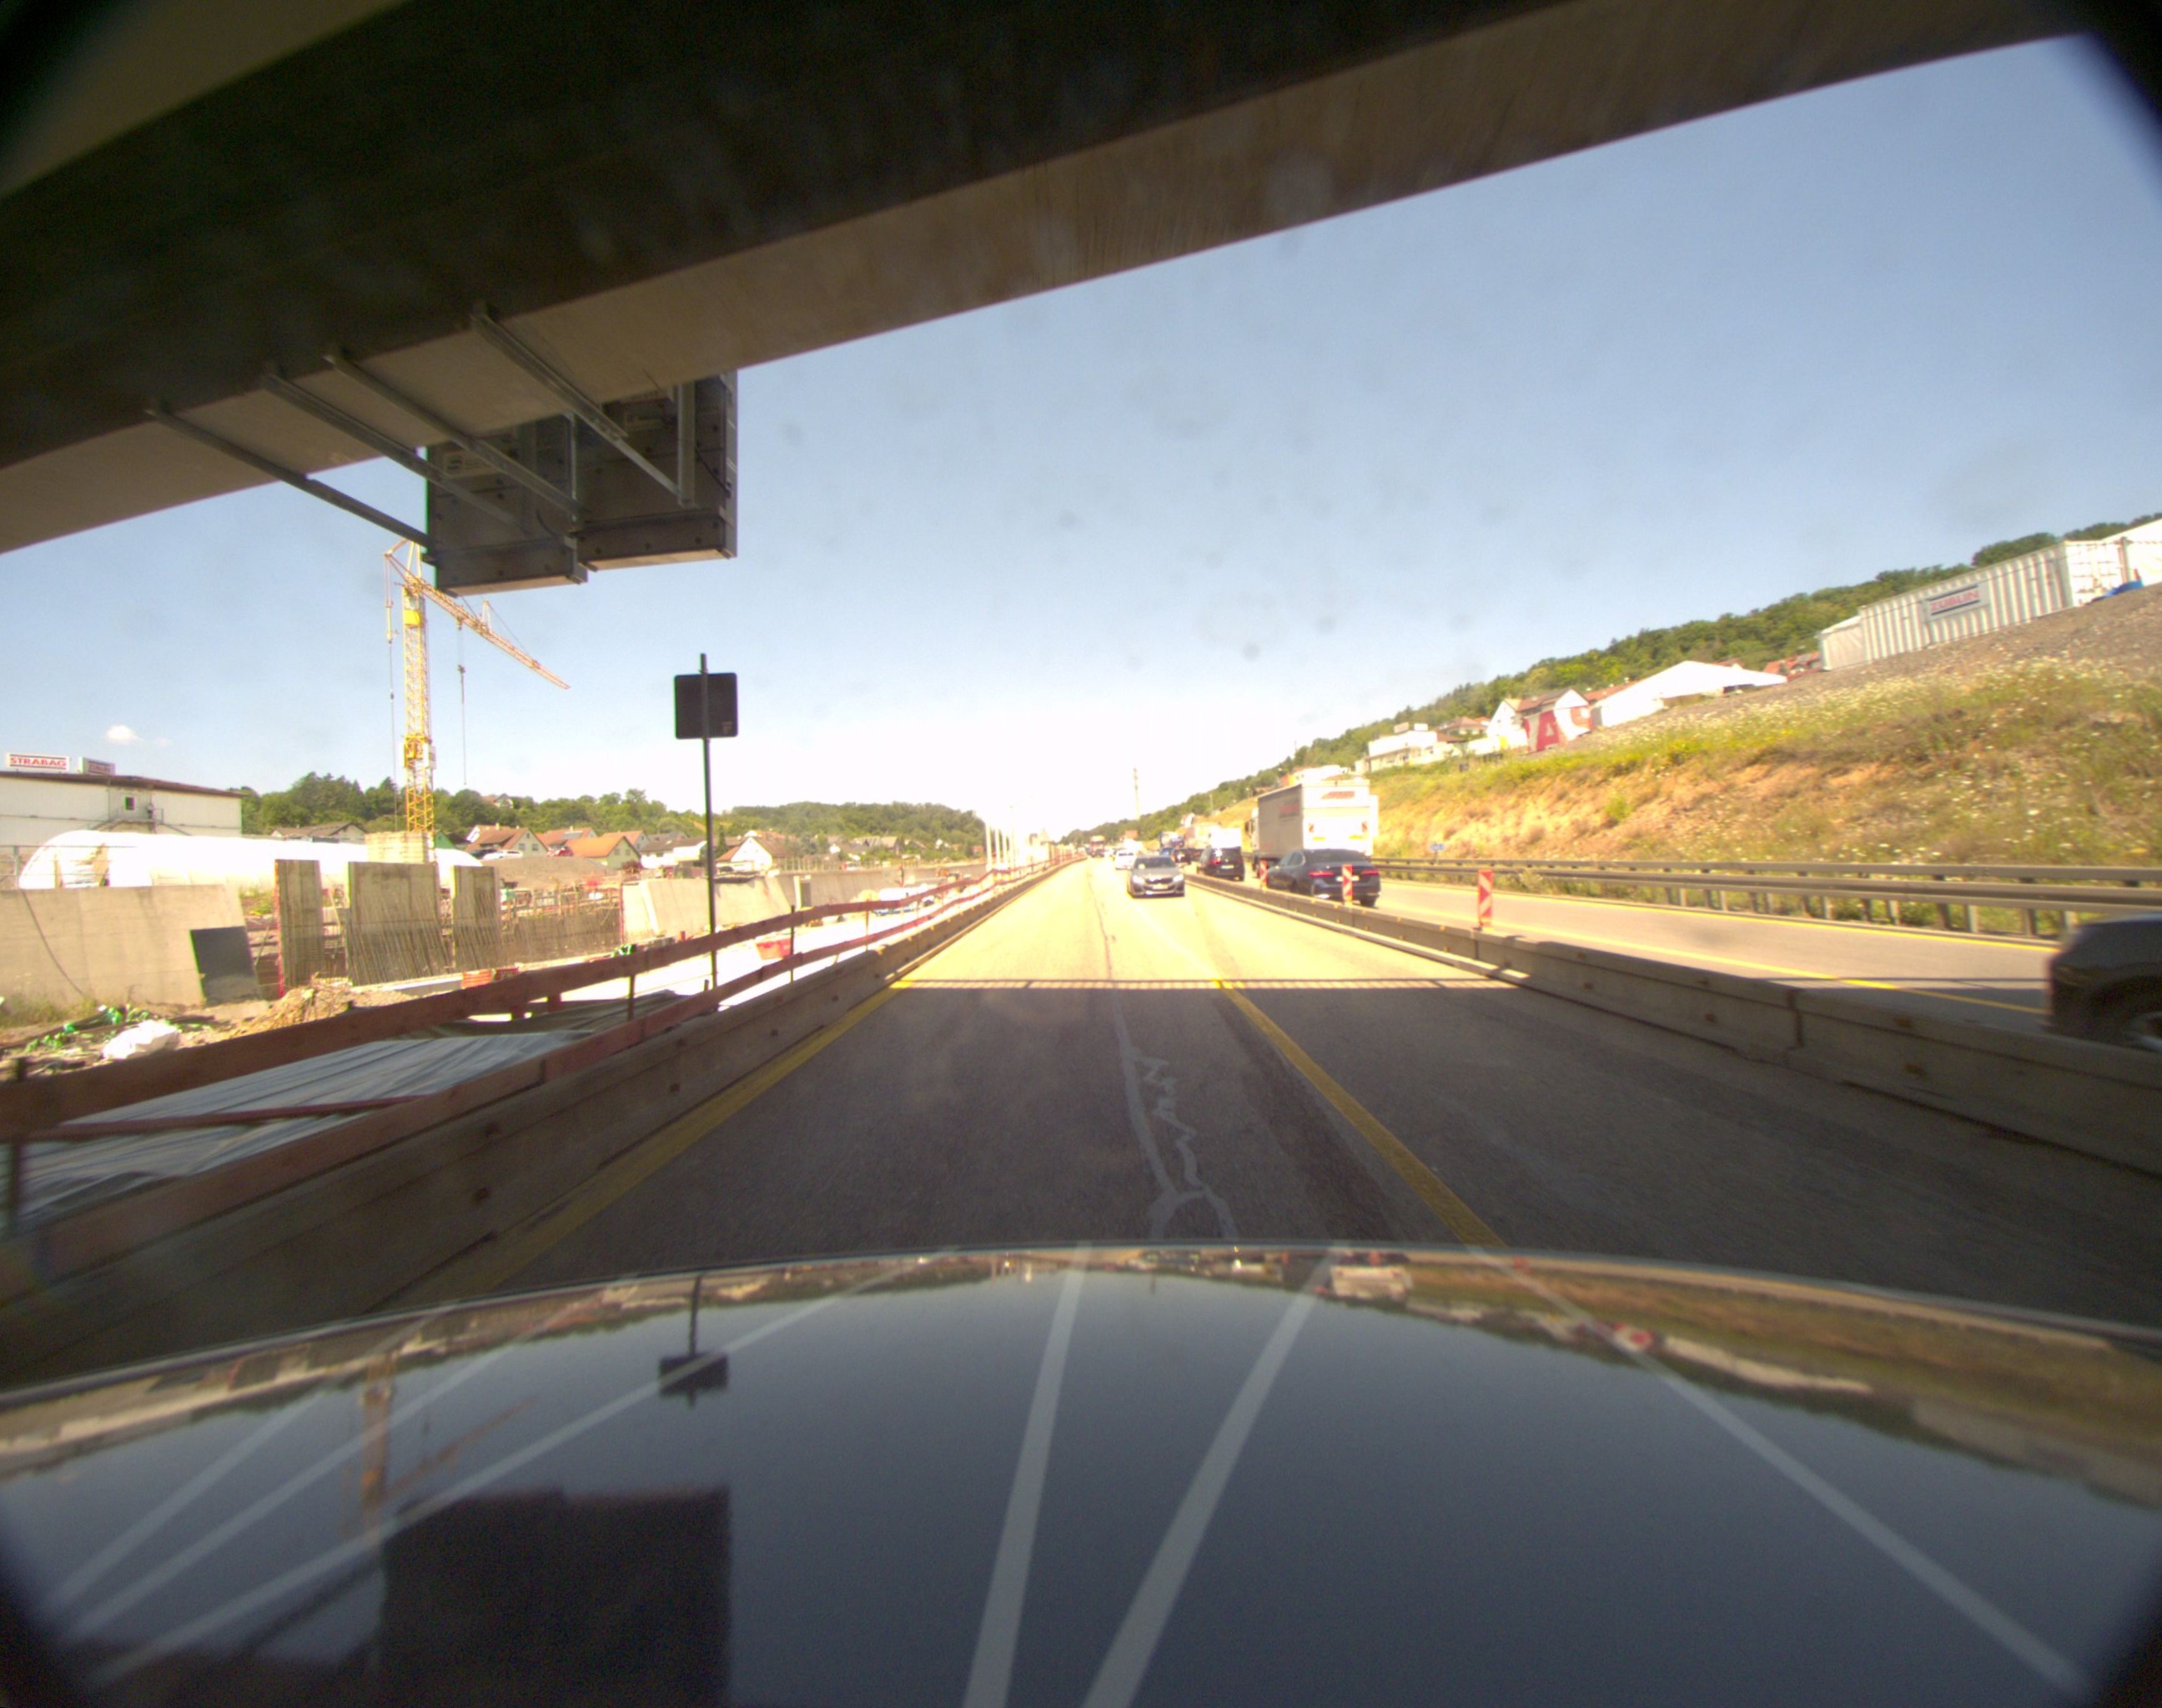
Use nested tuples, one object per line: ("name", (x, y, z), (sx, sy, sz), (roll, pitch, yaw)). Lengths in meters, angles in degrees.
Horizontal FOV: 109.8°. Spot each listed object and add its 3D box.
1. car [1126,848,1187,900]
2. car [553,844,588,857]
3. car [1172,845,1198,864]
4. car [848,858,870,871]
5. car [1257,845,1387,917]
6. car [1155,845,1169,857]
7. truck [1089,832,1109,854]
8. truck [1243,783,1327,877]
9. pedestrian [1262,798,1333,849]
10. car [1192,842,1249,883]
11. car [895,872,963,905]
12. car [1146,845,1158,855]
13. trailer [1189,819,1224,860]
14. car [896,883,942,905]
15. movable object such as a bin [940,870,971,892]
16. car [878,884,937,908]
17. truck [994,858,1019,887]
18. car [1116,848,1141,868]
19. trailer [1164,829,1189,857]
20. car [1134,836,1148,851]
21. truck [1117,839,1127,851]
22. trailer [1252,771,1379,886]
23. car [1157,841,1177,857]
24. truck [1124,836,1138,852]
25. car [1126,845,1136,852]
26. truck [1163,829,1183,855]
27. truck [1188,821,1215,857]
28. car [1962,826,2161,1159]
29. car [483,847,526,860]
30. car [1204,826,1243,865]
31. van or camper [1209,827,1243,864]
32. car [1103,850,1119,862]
("car", (2.576, 0.635, 26.774), (1.838, 1.588, 4.389), (-2, 1, 2))
("car", (-59.742, -0.441, 88.986), (1.545, 1.477, 3.606), (-2, 1, 1))
("car", (8.906, 0.028, 65.396), (1.758, 1.509, 4.186), (-2, 0, 2))
("car", (-31.873, 1.476, 109.089), (1.658, 1.594, 4.605), (-2, 1, 0))
("car", (6.078, 0.591, 19.797), (1.860, 1.519, 4.772), (-2, 1, 1))
("car", (11.119, -0.419, 104.359), (1.837, 1.421, 4.536), (-2, 1, 6))
("truck", (3.408, -2.154, 144.954), (3.463, 4.024, 10.209), (-2, 1, 1))
("truck", (9.654, -1.115, 36.346), (2.805, 4.127, 4.073), (-2, 1, 1))
("pedestrian", (9.384, -1.290, 33.296), (1.998, 2.002, 3.999), (-2, 1, 1))
("car", (6.567, 0.357, 36.247), (1.860, 1.746, 4.608), (-2, 0, 1))
("car", (-15.084, 3.388, 75.568), (6.308, 2.566, 2.053), (-6, 0, -12))
("car", (11.726, -0.675, 125.219), (1.837, 1.510, 4.844), (-2, 1, 5))
("trailer", (12.869, -1.565, 78.874), (2.661, 3.794, 11.823), (-2, 1, 6))
("car", (-15.272, 3.754, 71.805), (3.870, 1.676, 1.692), (-4, 1, -4))
("movable object such as a bin", (-18.014, 3.849, 109.162), (3.266, 2.769, 4.001), (-2, 1, 7))
("car", (-15.594, 3.795, 68.599), (4.801, 1.759, 1.720), (-4, 0, 1))
("truck", (-9.578, 2.367, 98.118), (2.504, 3.385, 5.435), (-2, 1, 1))
("car", (3.775, 0.294, 60.943), (1.838, 1.465, 4.389), (-2, 1, 2))
("trailer", (14.016, -1.633, 112.178), (2.605, 3.848, 11.273), (-2, 1, 3))
("car", (11.387, -1.997, 144.848), (2.211, 2.614, 6.627), (-2, 1, 0))
("truck", (14.050, -3.237, 261.515), (3.148, 4.024, 10.209), (-2, 1, 1))
("trailer", (9.594, -1.020, 32.190), (2.819, 4.150, 8.241), (-2, 1, 1))
("car", (9.930, -0.580, 87.162), (1.837, 1.654, 4.686), (-2, 2, 12))
("truck", (13.710, -2.763, 207.546), (3.115, 4.024, 13.155), (-2, 1, 1))
("car", (10.738, -1.130, 163.311), (1.838, 1.368, 4.389), (-2, 1, 0))
("truck", (14.345, -1.870, 118.660), (2.588, 3.954, 4.588), (-2, 1, 2))
("truck", (13.450, -1.668, 85.020), (2.590, 3.807, 5.382), (-2, 1, 6))
("car", (6.112, 0.637, 2.243), (1.726, 1.600, 4.524), (-4, 0, 1))
("car", (-68.702, -0.087, 90.638), (1.729, 1.477, 4.214), (-2, 1, 1))
("car", (10.999, -0.689, 59.248), (2.280, 2.805, 6.559), (-2, 1, 5))
("van or camper", (11.244, -0.648, 59.270), (2.128, 2.689, 6.458), (-1, 1, 7))
("car", (3.992, 0.281, 100.547), (1.801, 1.542, 4.000), (-3, -1, -1))
